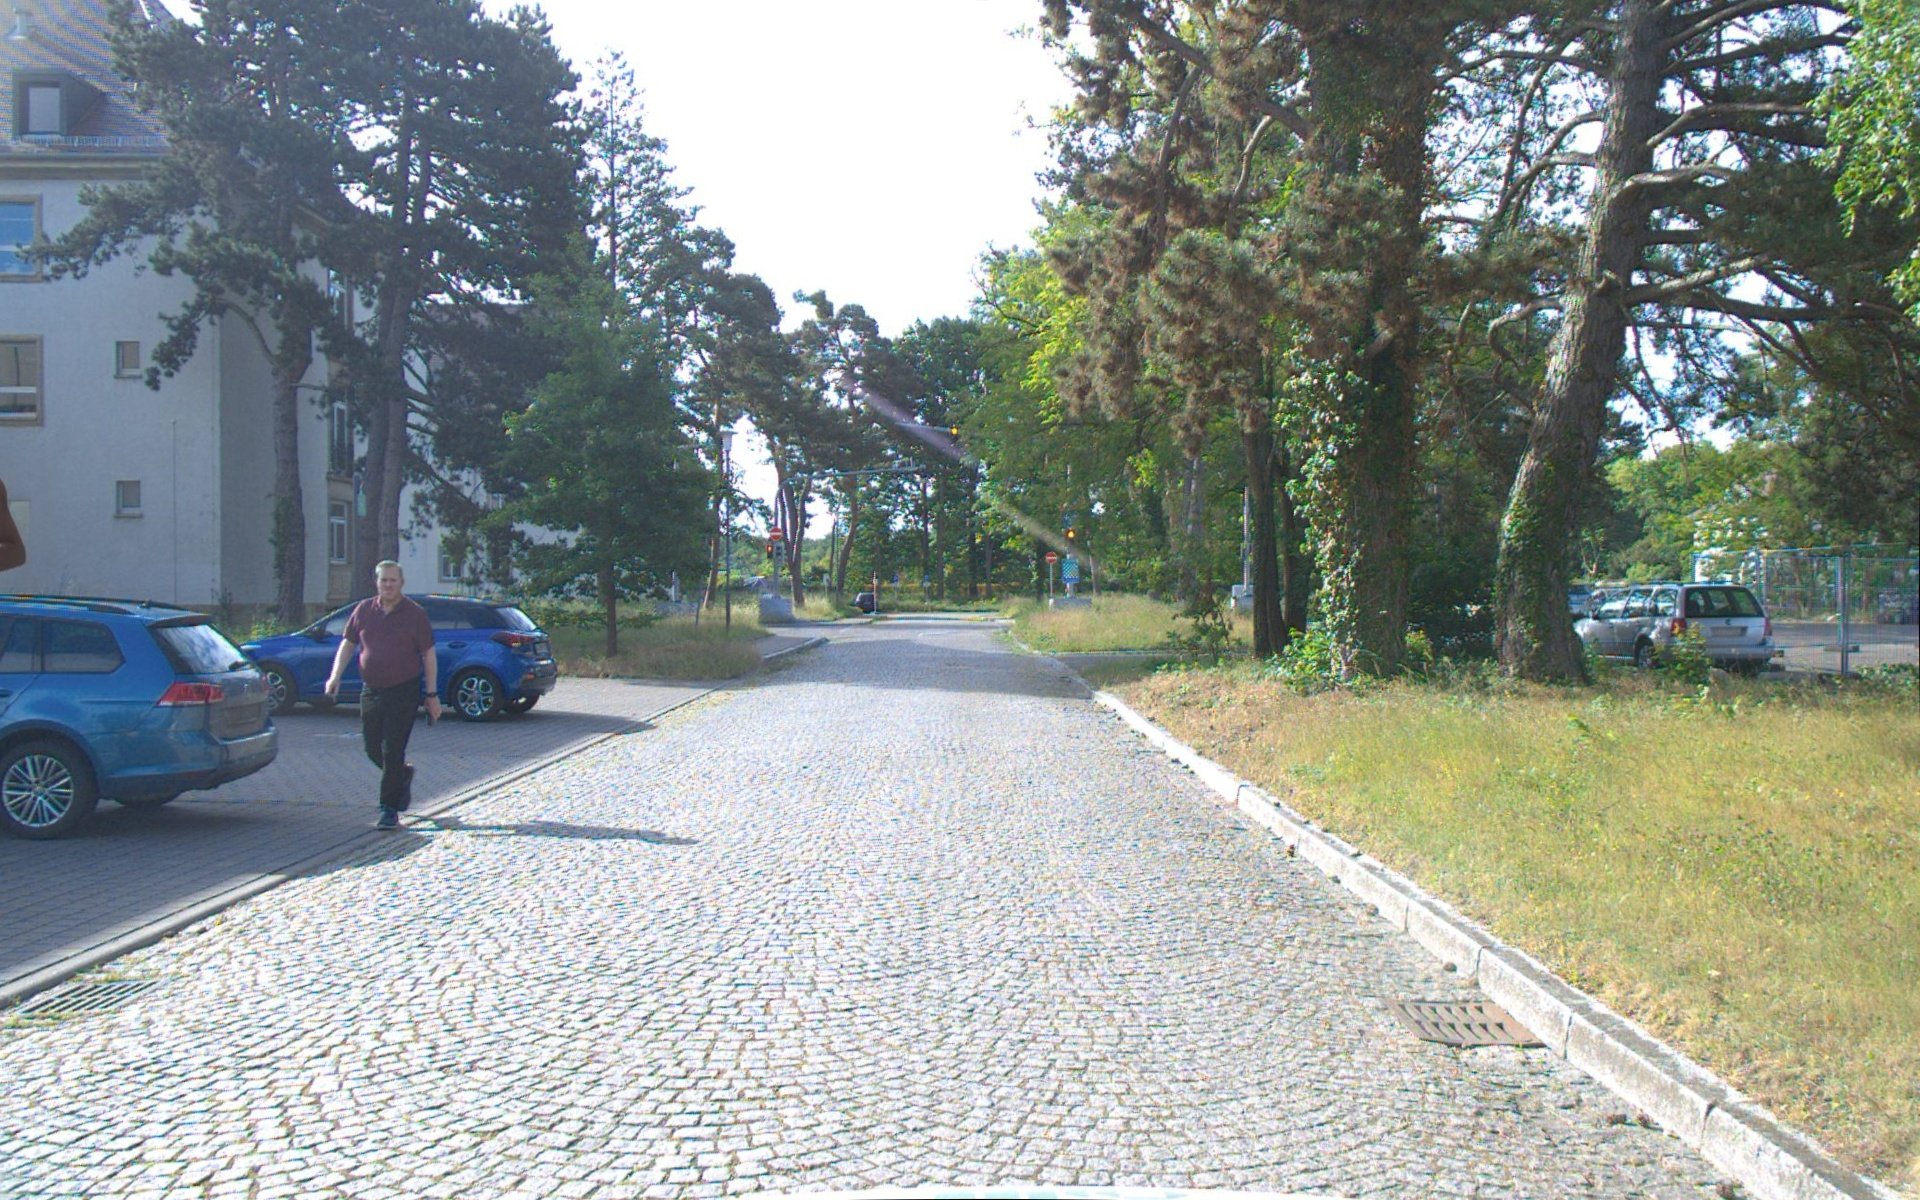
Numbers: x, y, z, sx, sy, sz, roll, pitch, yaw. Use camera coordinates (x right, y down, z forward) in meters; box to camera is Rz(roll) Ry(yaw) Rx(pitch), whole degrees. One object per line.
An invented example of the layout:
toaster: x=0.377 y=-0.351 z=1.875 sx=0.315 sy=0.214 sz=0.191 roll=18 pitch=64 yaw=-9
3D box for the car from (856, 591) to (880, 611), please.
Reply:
car: x=-7.054 y=0.085 z=126.829 sx=1.808 sy=1.512 sz=3.998 roll=-1 pitch=0 yaw=-3

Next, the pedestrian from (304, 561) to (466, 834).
pedestrian: x=-3.995 y=0.645 z=11.573 sx=0.788 sy=1.802 sz=1.152 roll=-1 pitch=0 yaw=-5

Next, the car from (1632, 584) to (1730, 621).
car: x=28.049 y=0.083 z=64.515 sx=1.697 sy=1.335 sz=4.328 roll=-1 pitch=0 yaw=-4

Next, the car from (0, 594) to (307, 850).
car: x=-6.787 y=0.734 z=11.029 sx=4.172 sy=1.489 sz=1.680 roll=1 pitch=2 yaw=-3

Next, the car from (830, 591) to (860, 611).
car: x=-9.124 y=0.057 z=131.536 sx=1.745 sy=1.516 sz=3.758 roll=-1 pitch=0 yaw=6

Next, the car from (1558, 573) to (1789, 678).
car: x=10.960 y=0.353 z=25.717 sx=1.634 sy=1.493 sz=3.997 roll=-1 pitch=0 yaw=-4

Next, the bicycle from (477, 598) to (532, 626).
bicycle: x=-19.008 y=0.508 z=69.070 sx=2.075 sy=1.128 sz=0.828 roll=-1 pitch=0 yaw=-4

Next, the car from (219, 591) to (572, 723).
car: x=-6.946 y=0.676 z=20.619 sx=3.757 sy=1.489 sz=1.720 roll=1 pitch=0 yaw=0

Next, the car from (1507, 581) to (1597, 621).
car: x=22.804 y=0.031 z=63.845 sx=1.697 sy=1.502 sz=4.328 roll=0 pitch=0 yaw=-4

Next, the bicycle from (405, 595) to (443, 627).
bicycle: x=-22.751 y=0.458 z=70.256 sx=0.809 sy=1.303 sz=2.553 roll=-1 pitch=0 yaw=-1

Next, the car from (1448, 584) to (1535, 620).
car: x=20.336 y=0.058 z=63.497 sx=1.697 sy=1.335 sz=4.328 roll=-1 pitch=0 yaw=-4

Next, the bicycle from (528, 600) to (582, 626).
bicycle: x=-16.925 y=0.539 z=69.199 sx=2.075 sy=1.065 sz=0.828 roll=-1 pitch=0 yaw=-4

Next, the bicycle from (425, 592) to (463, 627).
bicycle: x=-21.996 y=0.375 z=70.570 sx=0.809 sy=1.462 sz=2.553 roll=-1 pitch=0 yaw=-1

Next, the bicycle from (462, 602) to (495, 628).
bicycle: x=-20.448 y=0.613 z=70.297 sx=0.809 sy=1.065 sz=2.124 roll=-1 pitch=0 yaw=-1
